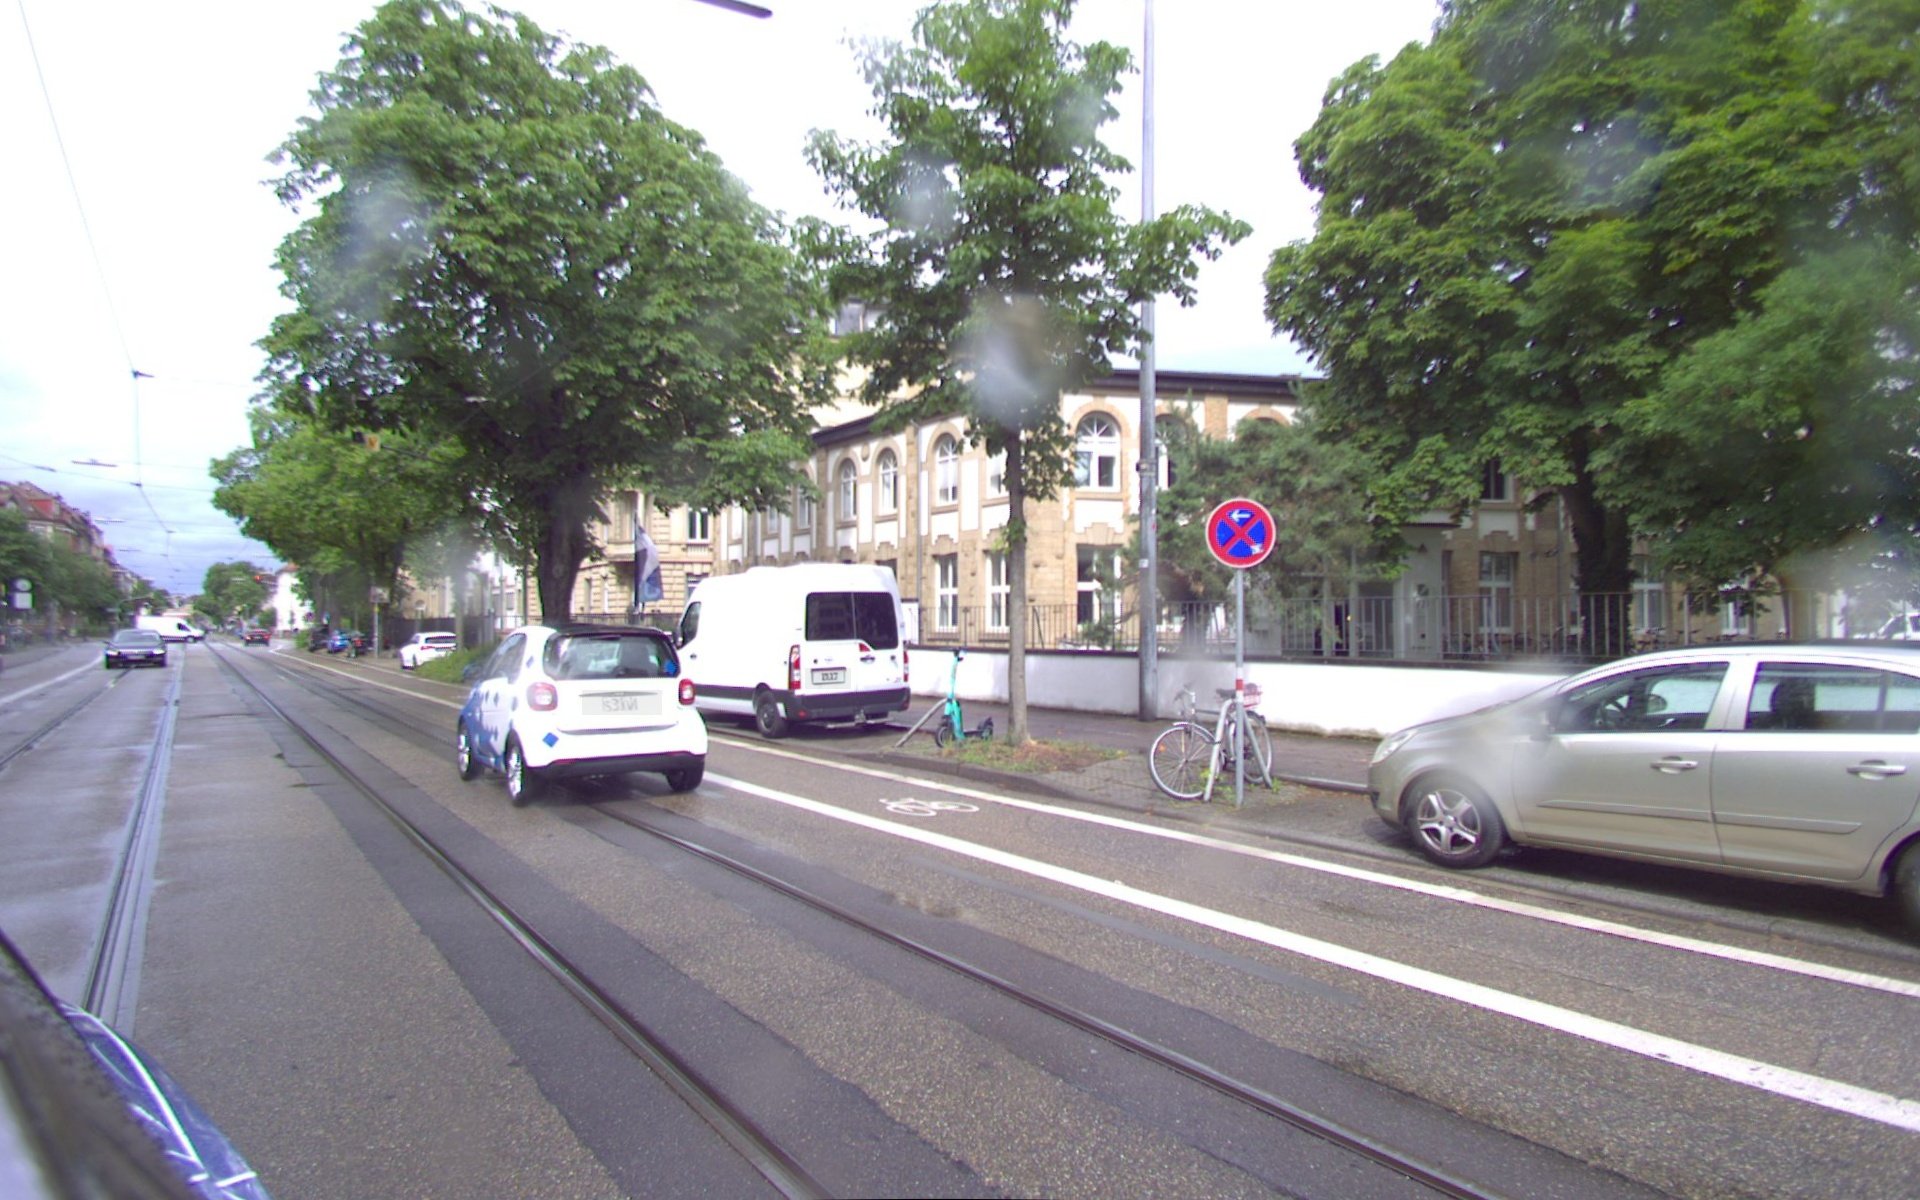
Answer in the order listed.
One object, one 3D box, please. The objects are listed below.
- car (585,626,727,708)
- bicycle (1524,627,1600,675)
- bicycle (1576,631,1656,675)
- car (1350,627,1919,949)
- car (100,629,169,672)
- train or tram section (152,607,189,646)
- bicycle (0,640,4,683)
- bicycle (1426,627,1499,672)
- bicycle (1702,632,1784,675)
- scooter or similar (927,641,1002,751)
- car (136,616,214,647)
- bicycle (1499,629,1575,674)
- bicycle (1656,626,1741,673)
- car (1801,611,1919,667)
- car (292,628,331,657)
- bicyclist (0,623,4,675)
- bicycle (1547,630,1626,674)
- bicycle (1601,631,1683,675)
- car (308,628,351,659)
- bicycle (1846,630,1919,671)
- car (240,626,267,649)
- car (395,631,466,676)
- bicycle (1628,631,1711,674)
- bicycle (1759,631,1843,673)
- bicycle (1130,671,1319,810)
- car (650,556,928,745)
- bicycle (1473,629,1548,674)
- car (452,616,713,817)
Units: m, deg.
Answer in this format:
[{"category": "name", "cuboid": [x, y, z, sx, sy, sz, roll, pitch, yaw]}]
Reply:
[{"category": "car", "cuboid": [-6.548, 1.377, 21.601, 1.883, 1.562, 3.378, -1, -2, -36]}, {"category": "bicycle", "cuboid": [15.982, 1.339, 26.931, 0.607, 1.186, 1.931, 0, -1, -10]}, {"category": "bicycle", "cuboid": [17.713, 1.429, 27.363, 0.607, 1.124, 1.930, -1, -2, -10]}, {"category": "car", "cuboid": [4.570, 0.924, 6.049, 1.663, 1.471, 3.841, -1, -1, -38]}, {"category": "car", "cuboid": [-31.912, 1.913, 39.154, 1.968, 1.492, 4.772, -1, -1, -39]}, {"category": "train or tram section", "cuboid": [-84.565, 2.760, 108.432, 2.974, 3.902, 9.593, -1, 0, -38]}, {"category": "bicycle", "cuboid": [-30.316, 1.921, 31.612, 0.635, 1.275, 1.871, -1, 0, -43]}, {"category": "bicycle", "cuboid": [12.990, 1.275, 26.234, 0.607, 1.124, 1.930, -1, -2, -10]}, {"category": "bicycle", "cuboid": [21.679, 1.470, 28.062, 0.607, 1.124, 1.792, -1, -2, -10]}, {"category": "scooter or similar", "cuboid": [0.067, 1.152, 12.471, 0.424, 1.287, 1.138, -3, -4, 26]}, {"category": "car", "cuboid": [-78.060, 3.066, 100.736, 5.624, 2.852, 2.764, -1, 0, -23]}, {"category": "bicycle", "cuboid": [15.291, 1.362, 26.877, 0.607, 1.124, 1.930, -1, -2, -10]}, {"category": "bicycle", "cuboid": [20.249, 1.343, 27.804, 0.607, 1.234, 1.930, -1, -2, -10]}, {"category": "car", "cuboid": [33.463, 1.435, 36.470, 4.812, 1.940, 2.103, 1, -3, -8]}, {"category": "car", "cuboid": [-43.900, 2.840, 68.484, 1.837, 1.766, 4.126, -1, 0, -38]}, {"category": "bicyclist", "cuboid": [-30.344, 1.531, 31.648, 0.636, 1.629, 0.674, -1, 0, -43]}, {"category": "bicycle", "cuboid": [16.751, 1.375, 27.124, 0.607, 1.124, 1.930, -1, -2, -10]}, {"category": "bicycle", "cuboid": [18.434, 1.426, 27.409, 0.607, 1.124, 1.930, -1, -2, -10]}, {"category": "car", "cuboid": [-37.790, 2.568, 60.605, 1.730, 1.688, 4.126, -1, 0, -38]}, {"category": "bicycle", "cuboid": [26.310, 1.422, 28.804, 0.607, 1.124, 1.523, -1, -2, -10]}, {"category": "car", "cuboid": [-62.655, 3.322, 89.807, 1.816, 1.900, 3.936, -1, 0, -33]}, {"category": "car", "cuboid": [-20.348, 2.017, 38.820, 1.766, 1.509, 4.038, -1, 0, -38]}, {"category": "bicycle", "cuboid": [19.351, 1.432, 27.645, 0.607, 1.124, 1.930, -1, -2, -10]}, {"category": "bicycle", "cuboid": [23.603, 1.445, 28.453, 0.607, 1.124, 1.792, -1, -2, -10]}, {"category": "bicycle", "cuboid": [2.485, 1.245, 9.385, 1.897, 0.994, 0.686, -2, 1, -39]}, {"category": "car", "cuboid": [-2.940, 0.726, 16.236, 2.106, 2.529, 5.284, -1, -1, -38]}, {"category": "bicycle", "cuboid": [14.386, 1.341, 26.493, 0.607, 1.124, 1.930, -1, -2, -10]}, {"category": "car", "cuboid": [-3.604, 0.937, 9.464, 1.589, 1.526, 2.613, -1, 0, -37]}]
